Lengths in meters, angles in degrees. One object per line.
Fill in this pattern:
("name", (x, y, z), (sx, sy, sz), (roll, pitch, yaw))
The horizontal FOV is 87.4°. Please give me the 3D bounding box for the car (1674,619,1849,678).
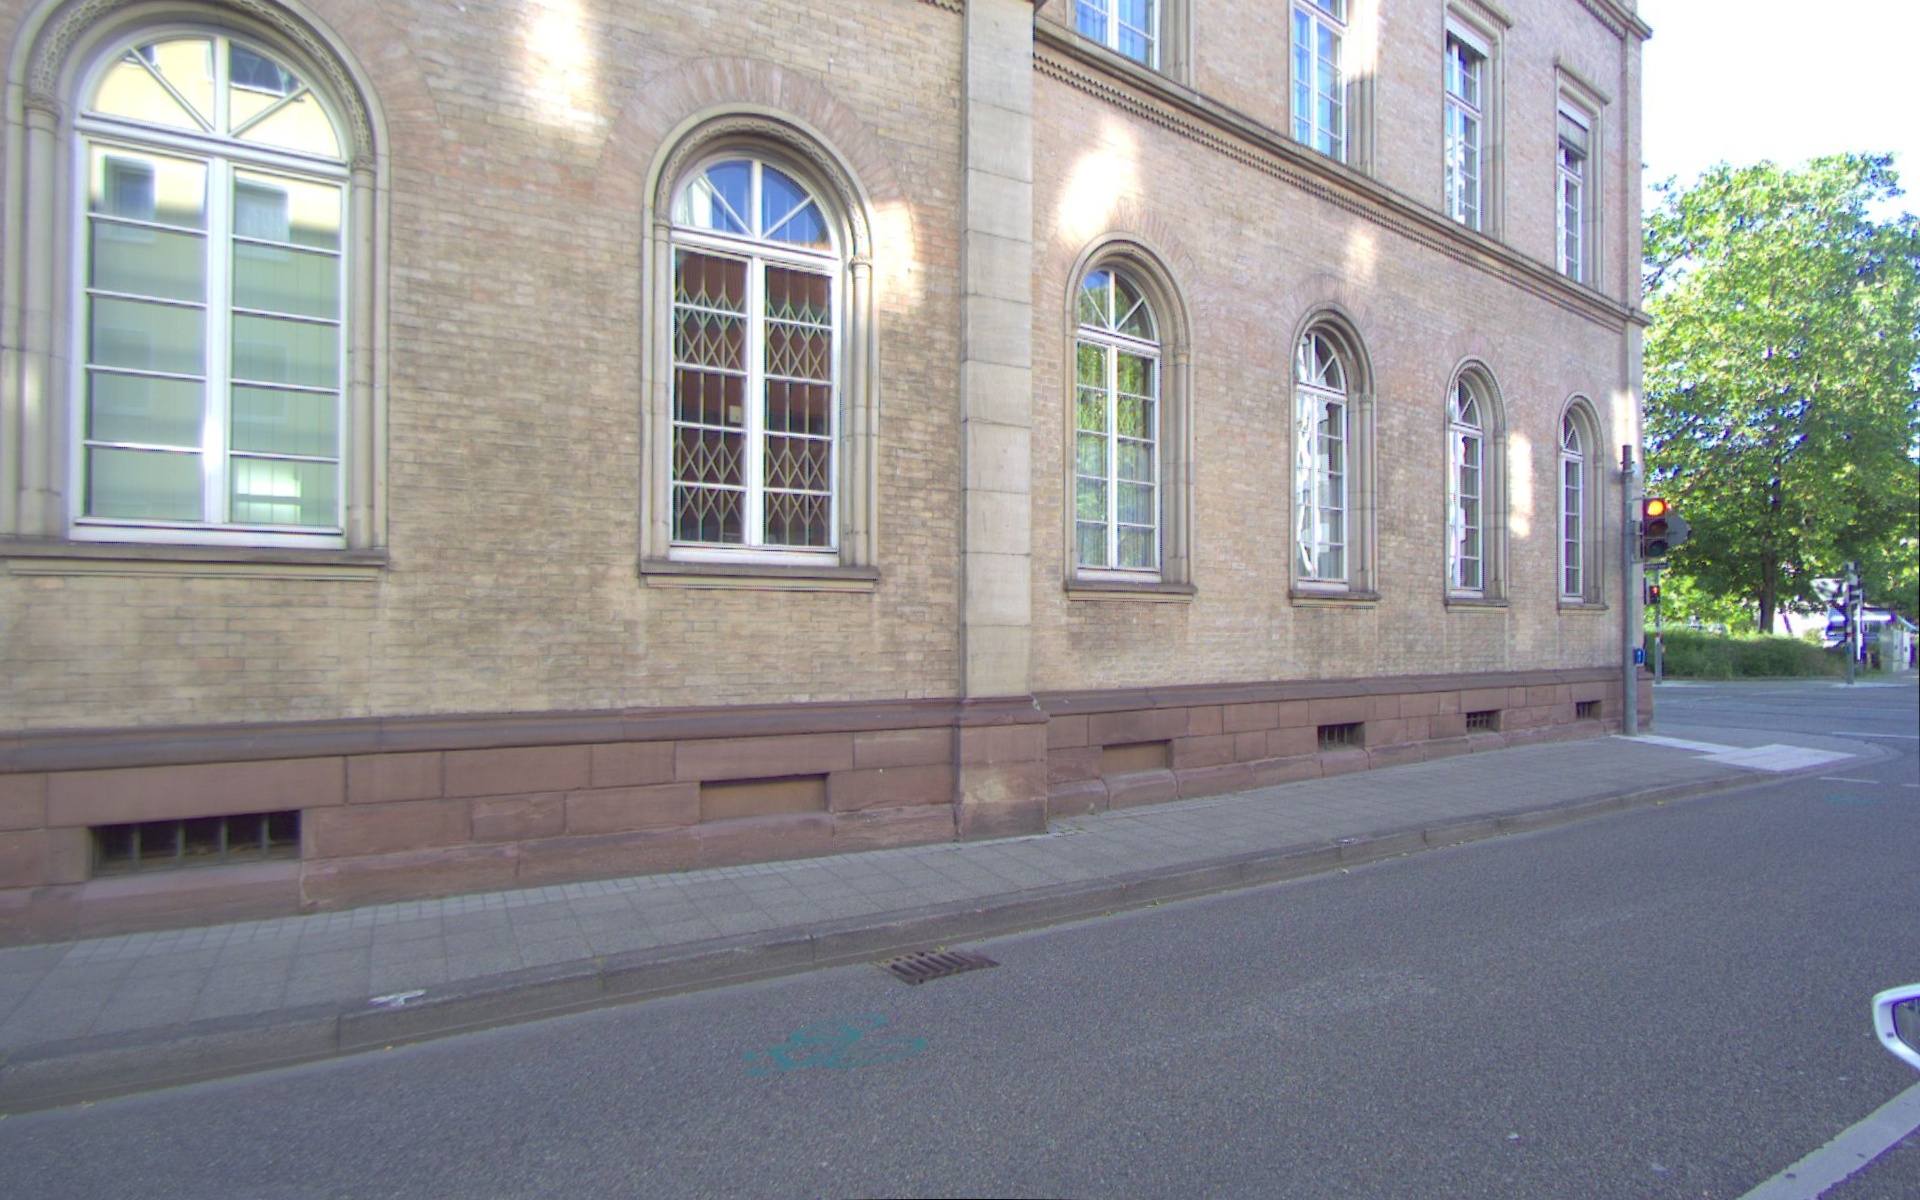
("car", (26.337, 1.547, 33.109), (1.888, 1.801, 4.193), (1, -2, -37))
